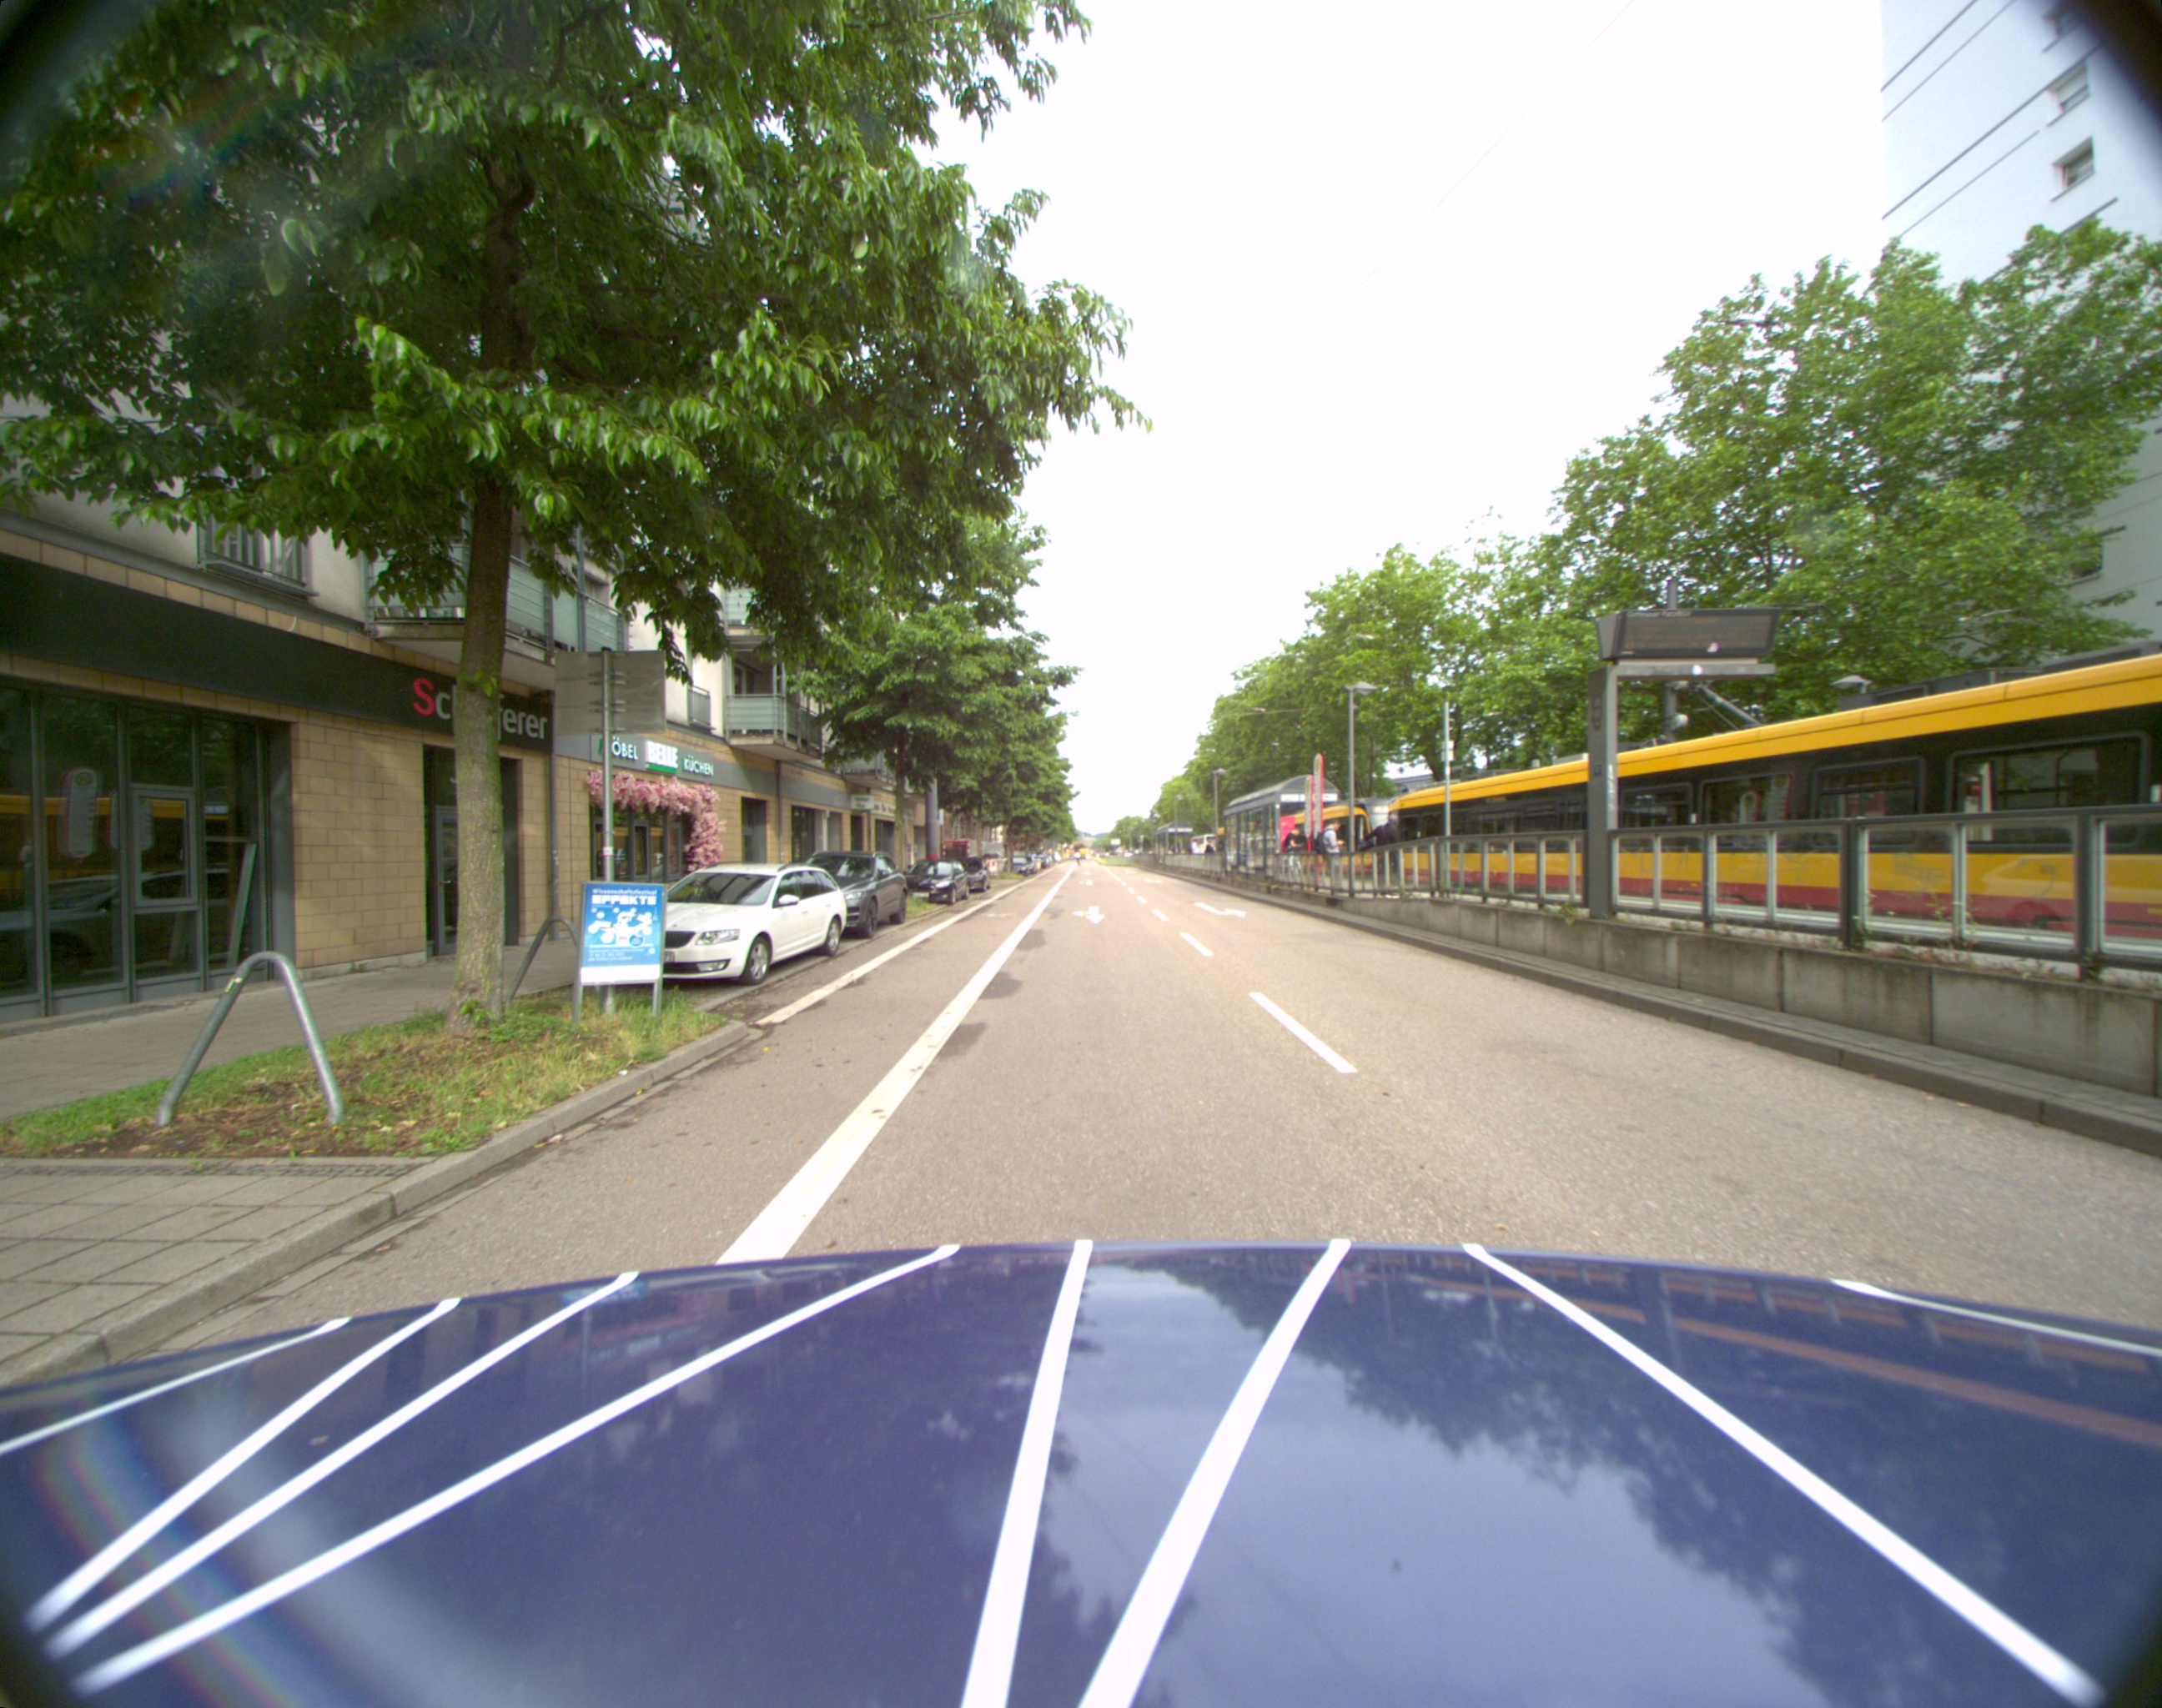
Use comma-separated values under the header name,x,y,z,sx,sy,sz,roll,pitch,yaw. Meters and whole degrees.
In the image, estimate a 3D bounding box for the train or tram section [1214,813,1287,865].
name,x,y,z,sx,sy,sz,roll,pitch,yaw
train or tram section,13.179,-1.137,60.470,3.100,3.541,12.538,-2,1,1

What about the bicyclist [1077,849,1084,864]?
name,x,y,z,sx,sy,sz,roll,pitch,yaw
bicyclist,-0.024,0.325,90.852,0.751,1.777,0.838,-2,1,1

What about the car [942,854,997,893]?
name,x,y,z,sx,sy,sz,roll,pitch,yaw
car,-4.726,0.798,32.813,1.802,1.447,4.387,2,1,-1

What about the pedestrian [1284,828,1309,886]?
name,x,y,z,sx,sy,sz,roll,pitch,yaw
pedestrian,6.208,0.076,21.896,0.532,1.623,0.471,-2,1,-2

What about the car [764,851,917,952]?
name,x,y,z,sx,sy,sz,roll,pitch,yaw
car,-4.765,0.830,15.814,1.716,1.707,4.710,2,1,-1

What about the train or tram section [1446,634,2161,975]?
name,x,y,z,sx,sy,sz,roll,pitch,yaw
train or tram section,12.611,-0.639,15.482,3.067,3.511,15.293,-2,1,1

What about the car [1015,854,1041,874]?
name,x,y,z,sx,sy,sz,roll,pitch,yaw
car,-4.177,0.743,60.112,1.755,1.452,4.279,1,1,0

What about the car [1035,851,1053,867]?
name,x,y,z,sx,sy,sz,roll,pitch,yaw
car,-4.127,0.542,85.792,1.837,1.686,3.762,1,1,0

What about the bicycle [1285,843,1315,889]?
name,x,y,z,sx,sy,sz,roll,pitch,yaw
bicycle,6.002,0.319,20.898,0.420,1.215,1.289,-2,1,0

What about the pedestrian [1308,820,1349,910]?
name,x,y,z,sx,sy,sz,roll,pitch,yaw
pedestrian,5.682,0.245,17.426,0.753,2.002,0.819,-2,1,24

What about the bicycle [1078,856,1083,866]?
name,x,y,z,sx,sy,sz,roll,pitch,yaw
bicycle,-0.057,0.863,90.716,0.613,1.116,2.050,-2,1,1

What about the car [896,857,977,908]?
name,x,y,z,sx,sy,sz,roll,pitch,yaw
car,-4.638,0.869,25.046,1.680,1.433,4.408,2,1,2

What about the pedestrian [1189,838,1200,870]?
name,x,y,z,sx,sy,sz,roll,pitch,yaw
pedestrian,5.813,0.017,38.975,0.480,1.623,0.392,-2,1,2

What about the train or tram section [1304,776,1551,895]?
name,x,y,z,sx,sy,sz,roll,pitch,yaw
train or tram section,12.806,-0.648,30.794,3.067,3.511,15.293,-2,1,1

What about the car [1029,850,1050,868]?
name,x,y,z,sx,sy,sz,roll,pitch,yaw
car,-4.126,0.513,76.500,1.837,1.720,4.279,1,1,0

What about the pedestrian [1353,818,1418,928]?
name,x,y,z,sx,sy,sz,roll,pitch,yaw
pedestrian,5.782,0.342,14.418,0.756,2.002,0.816,-3,1,-36

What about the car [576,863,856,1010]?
name,x,y,z,sx,sy,sz,roll,pitch,yaw
car,-4.729,0.952,10.676,1.680,1.490,4.390,2,1,2

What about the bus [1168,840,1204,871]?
name,x,y,z,sx,sy,sz,roll,pitch,yaw
bus,7.316,0.062,53.348,1.998,2.002,3.999,-2,1,1

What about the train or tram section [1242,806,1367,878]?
name,x,y,z,sx,sy,sz,roll,pitch,yaw
train or tram section,12.982,-0.688,46.319,3.067,3.511,15.770,-2,1,1

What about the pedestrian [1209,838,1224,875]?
name,x,y,z,sx,sy,sz,roll,pitch,yaw
pedestrian,6.115,0.095,34.354,0.513,1.623,0.730,-2,1,2

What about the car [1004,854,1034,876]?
name,x,y,z,sx,sy,sz,roll,pitch,yaw
car,-4.362,0.768,54.193,1.755,1.452,4.279,1,1,0
